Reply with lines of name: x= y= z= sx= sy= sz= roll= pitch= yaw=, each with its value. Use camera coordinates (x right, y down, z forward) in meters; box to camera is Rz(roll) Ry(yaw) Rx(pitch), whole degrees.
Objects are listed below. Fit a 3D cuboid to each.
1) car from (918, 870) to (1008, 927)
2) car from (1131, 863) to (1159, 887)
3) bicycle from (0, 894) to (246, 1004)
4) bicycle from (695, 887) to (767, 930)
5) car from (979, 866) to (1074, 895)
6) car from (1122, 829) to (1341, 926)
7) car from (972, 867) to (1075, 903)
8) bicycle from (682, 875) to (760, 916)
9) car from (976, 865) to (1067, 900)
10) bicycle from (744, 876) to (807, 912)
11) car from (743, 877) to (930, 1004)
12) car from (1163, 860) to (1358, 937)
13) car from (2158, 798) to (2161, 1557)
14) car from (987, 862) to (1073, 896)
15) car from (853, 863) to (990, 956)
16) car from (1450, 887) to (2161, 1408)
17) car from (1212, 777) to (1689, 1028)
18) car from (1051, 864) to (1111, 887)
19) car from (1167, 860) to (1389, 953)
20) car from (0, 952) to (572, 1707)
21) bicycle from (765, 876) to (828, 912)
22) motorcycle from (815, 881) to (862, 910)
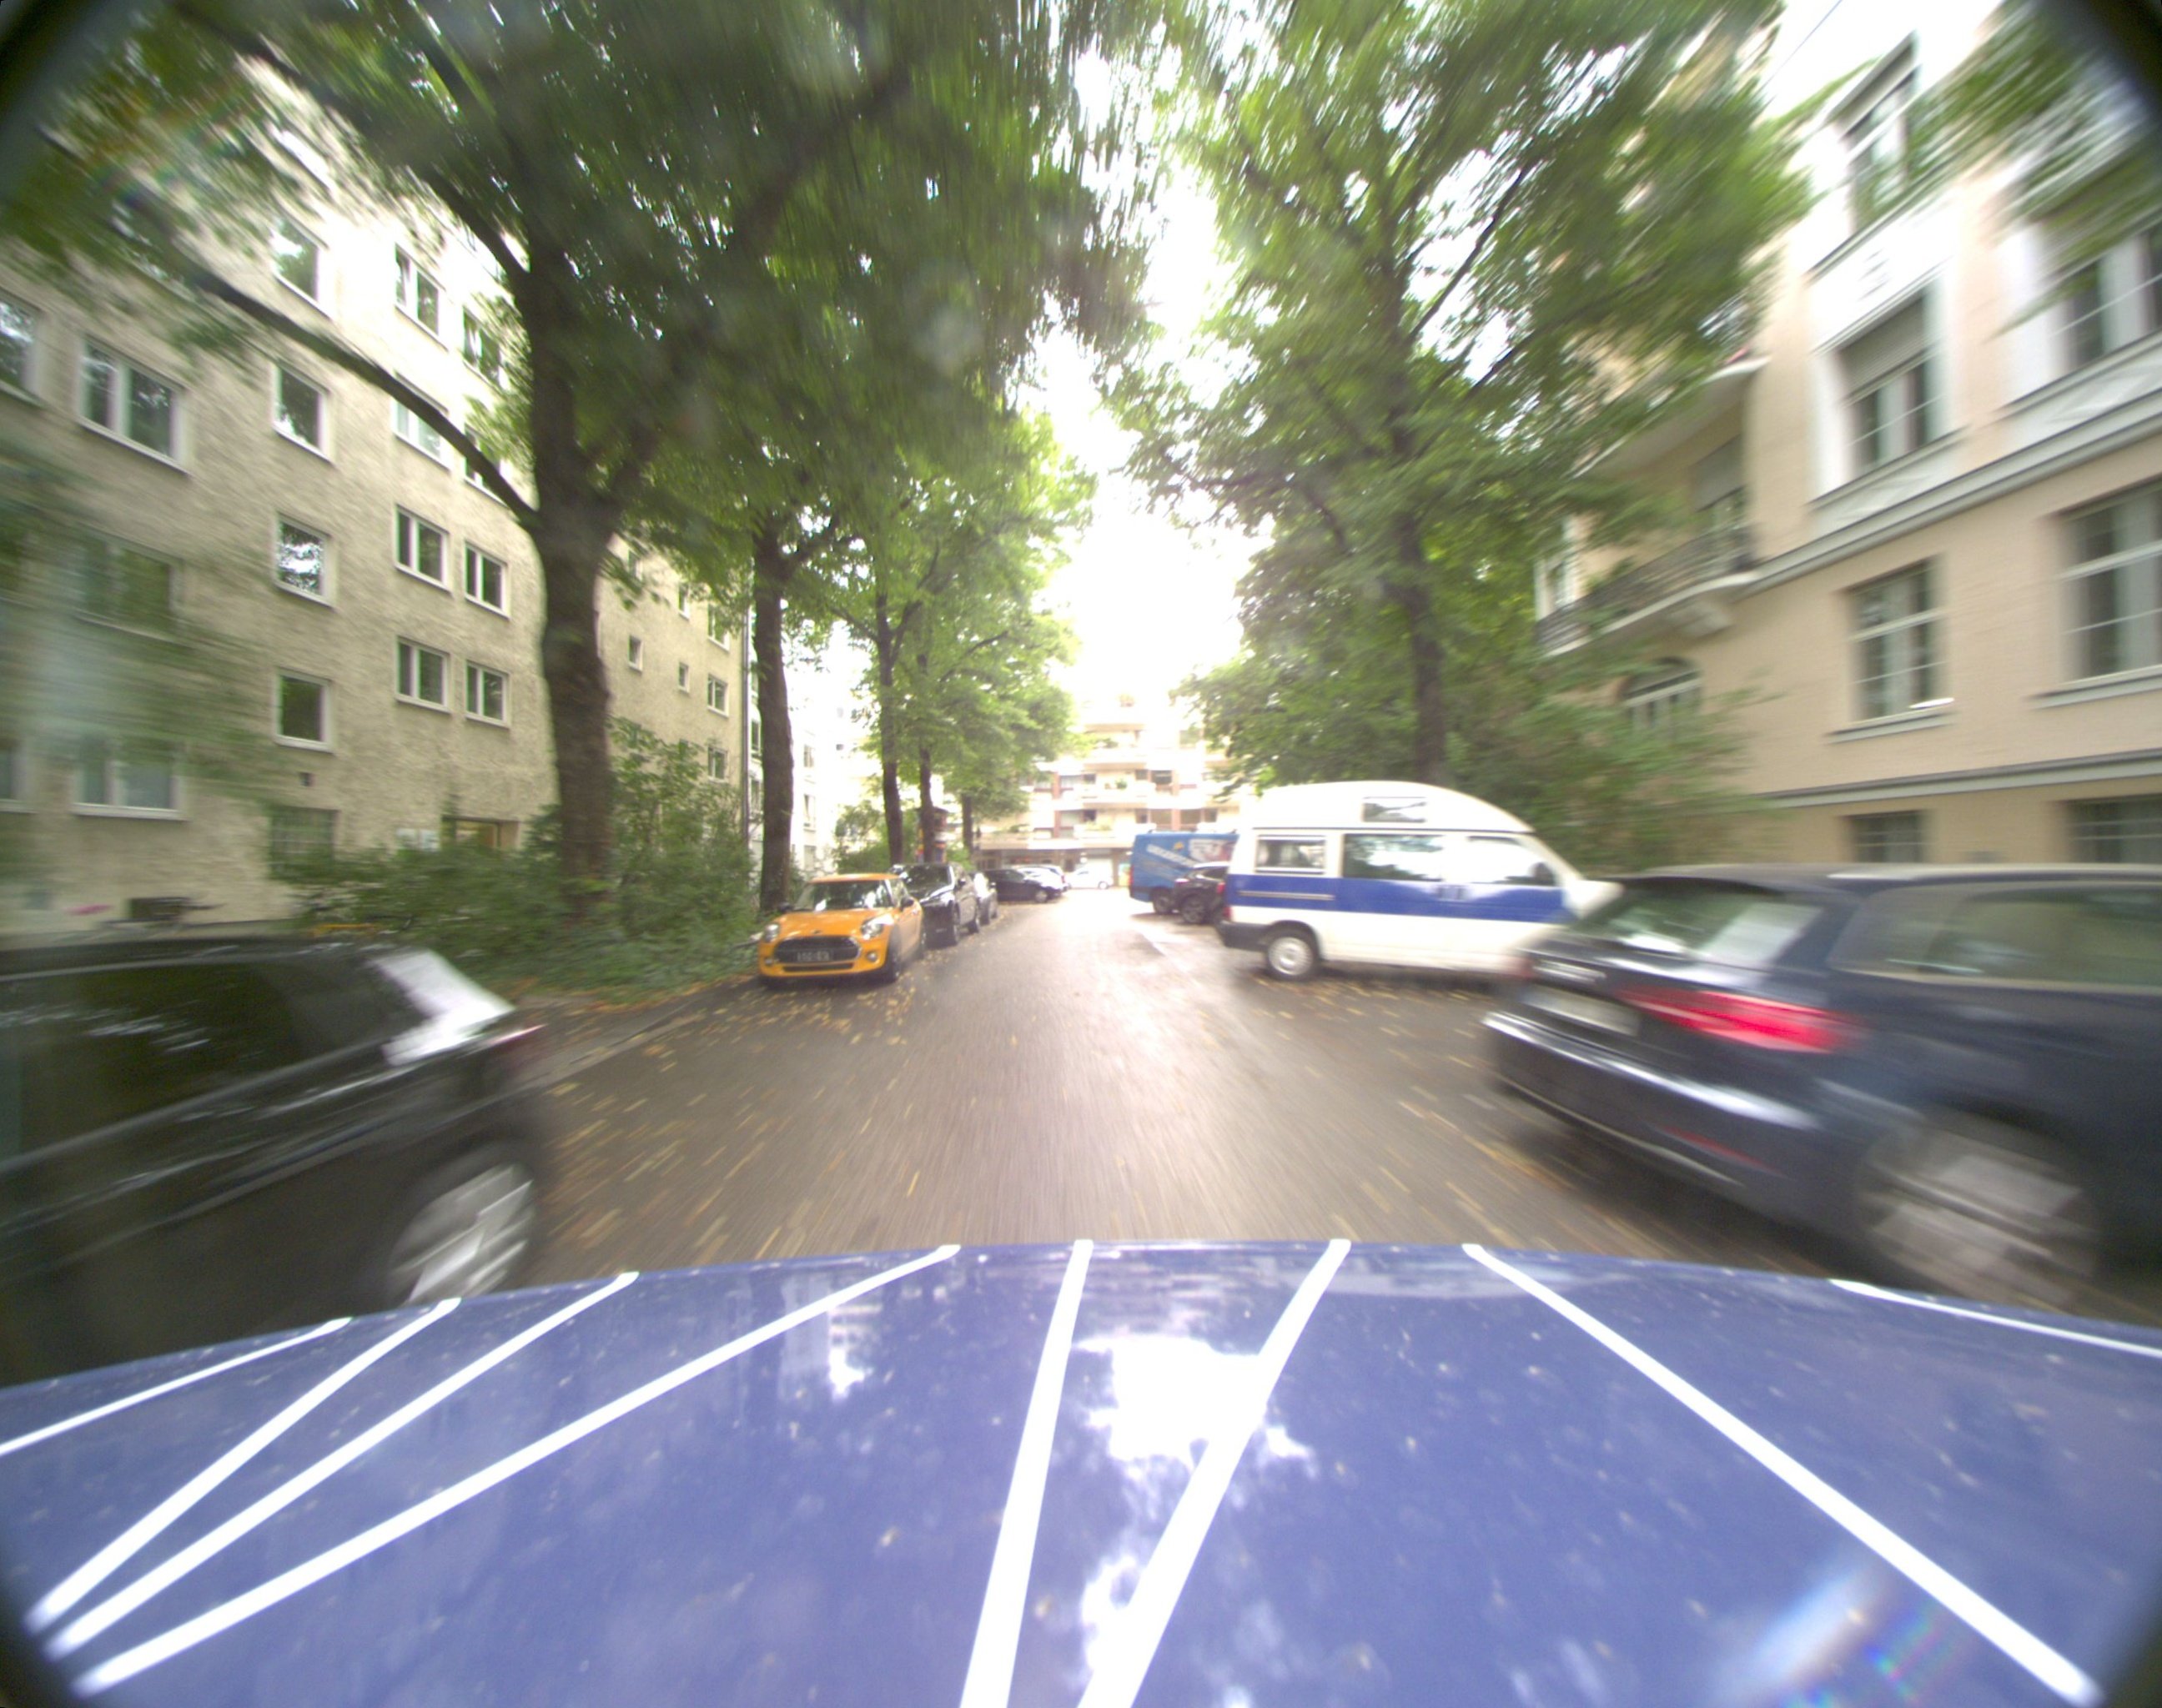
car: x=-3.253 y=1.194 z=21.752 sx=1.903 sy=1.405 sz=4.429 roll=0 pitch=0 yaw=-1
car: x=4.177 y=1.400 z=49.317 sx=1.719 sy=1.445 sz=4.246 roll=-1 pitch=-4 yaw=5
bicycle: x=-10.289 y=0.993 z=8.165 sx=1.836 sy=1.077 sz=0.547 roll=-1 pitch=0 yaw=-8
bicycle: x=-9.753 y=1.501 z=21.204 sx=1.775 sy=1.117 sz=0.444 roll=-1 pitch=0 yaw=-36
car: x=-2.809 y=1.330 z=39.210 sx=4.731 sy=1.369 sz=1.959 roll=-1 pitch=0 yaw=-4
car: x=4.001 y=0.525 z=20.813 sx=5.479 sy=2.341 sz=2.070 roll=2 pitch=1 yaw=35
car: x=-2.335 y=1.254 z=31.543 sx=4.092 sy=1.386 sz=1.735 roll=-1 pitch=0 yaw=1
bicycle: x=-10.339 y=1.184 z=21.853 sx=1.949 sy=1.117 sz=0.445 roll=-1 pitch=0 yaw=-15
car: x=-2.634 y=1.262 z=34.126 sx=3.946 sy=1.439 sz=1.826 roll=-1 pitch=0 yaw=-4
bicycle: x=-10.281 y=1.333 z=25.599 sx=1.877 sy=1.117 sz=0.540 roll=-1 pitch=0 yaw=-12
car: x=-3.281 y=1.086 z=10.937 sx=1.623 sy=1.404 sz=3.779 roll=-1 pitch=-1 yaw=-3
car: x=4.078 y=0.937 z=17.563 sx=3.988 sy=1.527 sz=1.819 roll=1 pitch=1 yaw=39
car: x=4.554 y=0.719 z=0.690 sx=4.323 sy=1.721 sz=1.849 roll=0 pitch=0 yaw=3
car: x=-2.416 y=1.184 z=36.503 sx=3.981 sy=1.546 sz=1.756 roll=-1 pitch=0 yaw=0
car: x=-3.135 y=1.022 z=15.869 sx=1.836 sy=1.619 sz=4.526 roll=-1 pitch=-1 yaw=1
car: x=3.900 y=0.878 z=3.052 sx=3.997 sy=1.425 sz=1.736 roll=0 pitch=0 yaw=0
car: x=4.047 y=0.462 z=8.986 sx=4.571 sy=2.363 sz=1.908 roll=0 pitch=0 yaw=25
car: x=0.030 y=1.444 z=50.915 sx=3.829 sy=1.412 sz=1.567 roll=-1 pitch=-3 yaw=5
car: x=3.852 y=0.923 z=14.961 sx=3.856 sy=1.551 sz=1.819 roll=0 pitch=1 yaw=31
car: x=-2.887 y=1.069 z=1.030 sx=1.686 sy=1.350 sz=4.009 roll=-2 pitch=-1 yaw=-1
bicycle: x=-9.399 y=1.324 z=25.161 sx=1.877 sy=1.117 sz=0.540 roll=-1 pitch=0 yaw=-12
motorcycle: x=-10.409 y=1.787 z=32.600 sx=1.807 sy=1.190 sz=0.691 roll=-1 pitch=0 yaw=-7
